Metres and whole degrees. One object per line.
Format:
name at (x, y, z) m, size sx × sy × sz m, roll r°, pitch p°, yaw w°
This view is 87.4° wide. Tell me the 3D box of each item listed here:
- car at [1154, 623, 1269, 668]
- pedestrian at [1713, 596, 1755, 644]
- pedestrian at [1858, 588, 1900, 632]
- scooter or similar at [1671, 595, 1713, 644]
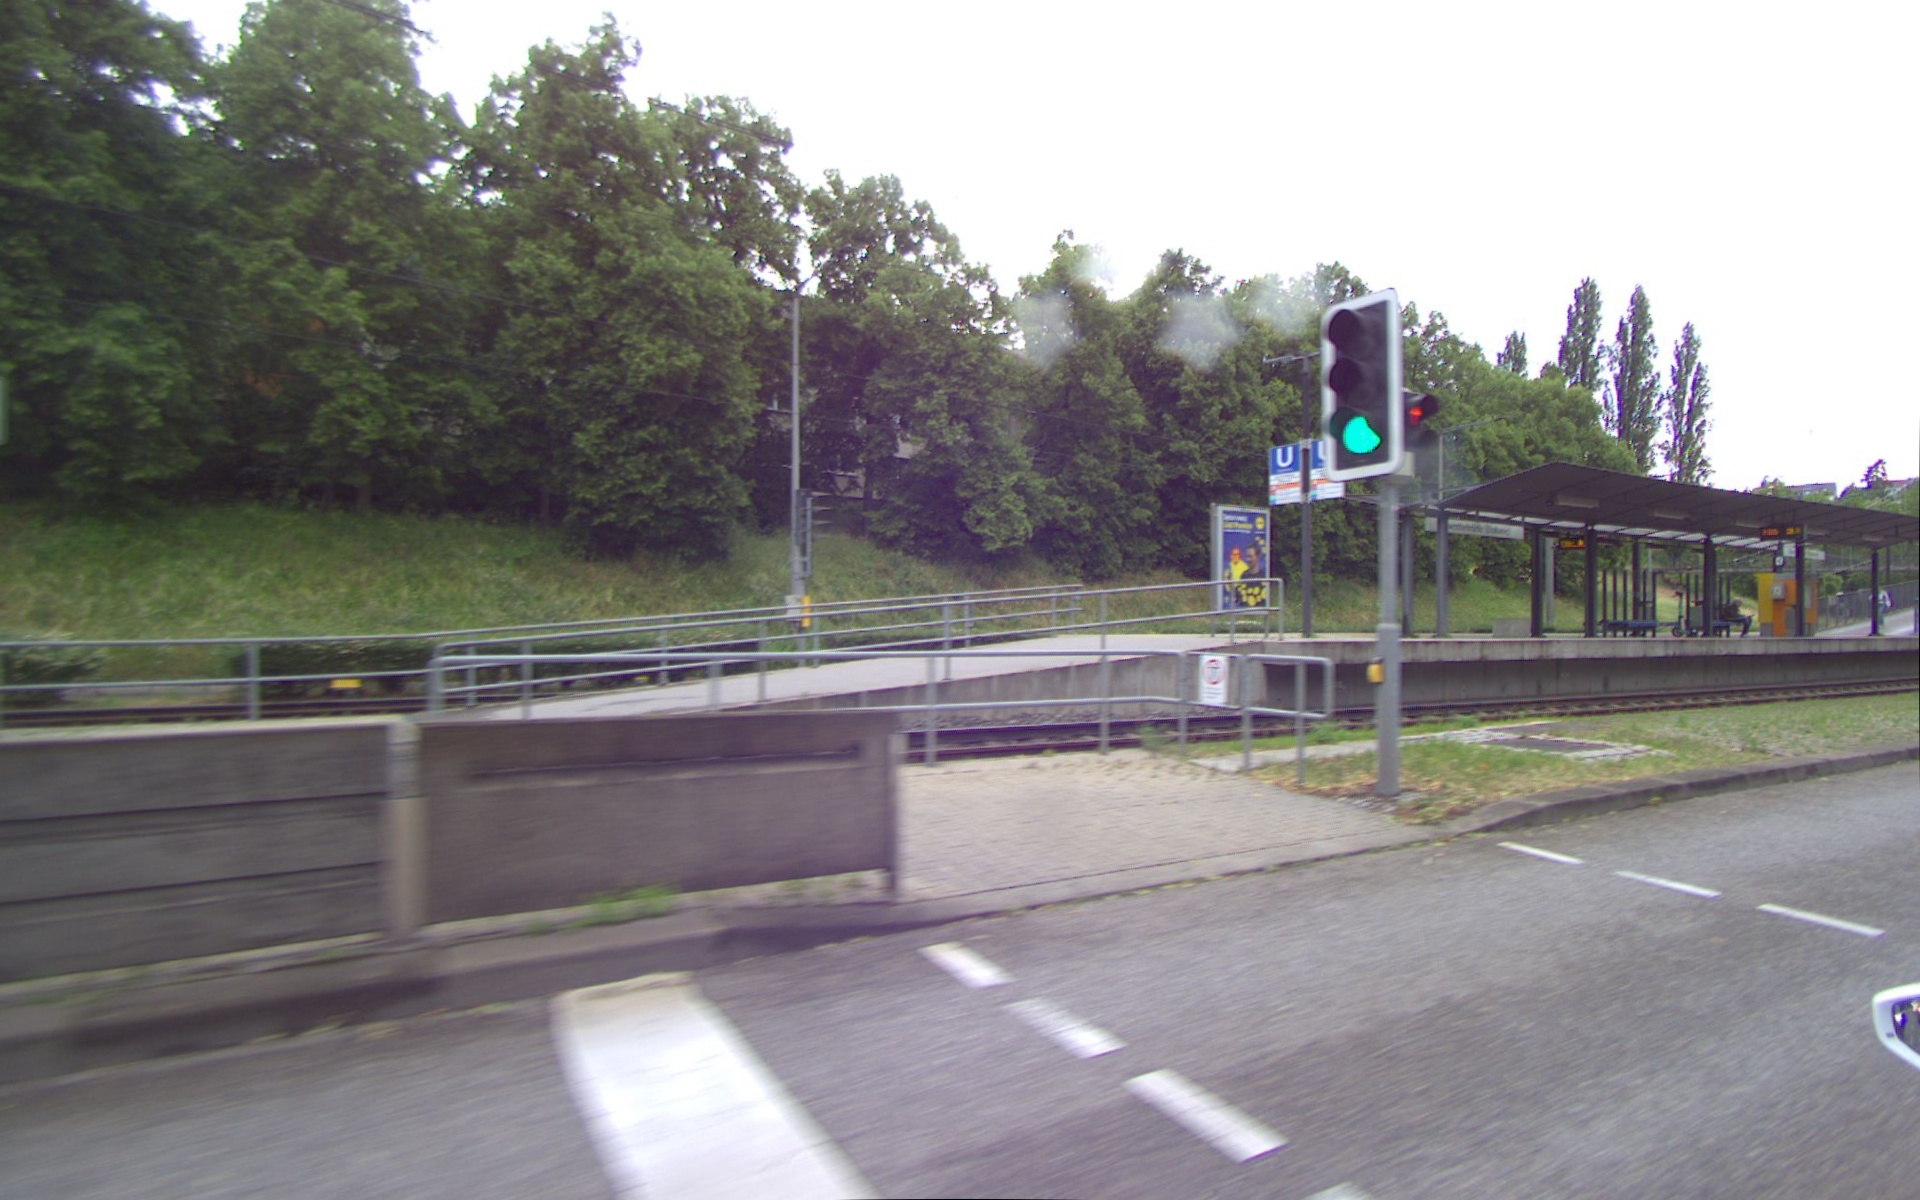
car at (8.831, 1.589, 35.169) m, size 3.962 × 1.422 × 1.783 m, roll 2°, pitch 0°, yaw -36°
pedestrian at (22.327, 0.572, 28.981) m, size 0.685 × 1.374 × 0.748 m, roll 2°, pitch 0°, yaw -34°
pedestrian at (34.792, 0.376, 38.021) m, size 1.016 × 1.632 × 0.929 m, roll 2°, pitch 0°, yaw -34°
scooter or similar at (19.513, 0.508, 26.796) m, size 0.372 × 1.234 × 1.301 m, roll 3°, pitch 1°, yaw 13°
